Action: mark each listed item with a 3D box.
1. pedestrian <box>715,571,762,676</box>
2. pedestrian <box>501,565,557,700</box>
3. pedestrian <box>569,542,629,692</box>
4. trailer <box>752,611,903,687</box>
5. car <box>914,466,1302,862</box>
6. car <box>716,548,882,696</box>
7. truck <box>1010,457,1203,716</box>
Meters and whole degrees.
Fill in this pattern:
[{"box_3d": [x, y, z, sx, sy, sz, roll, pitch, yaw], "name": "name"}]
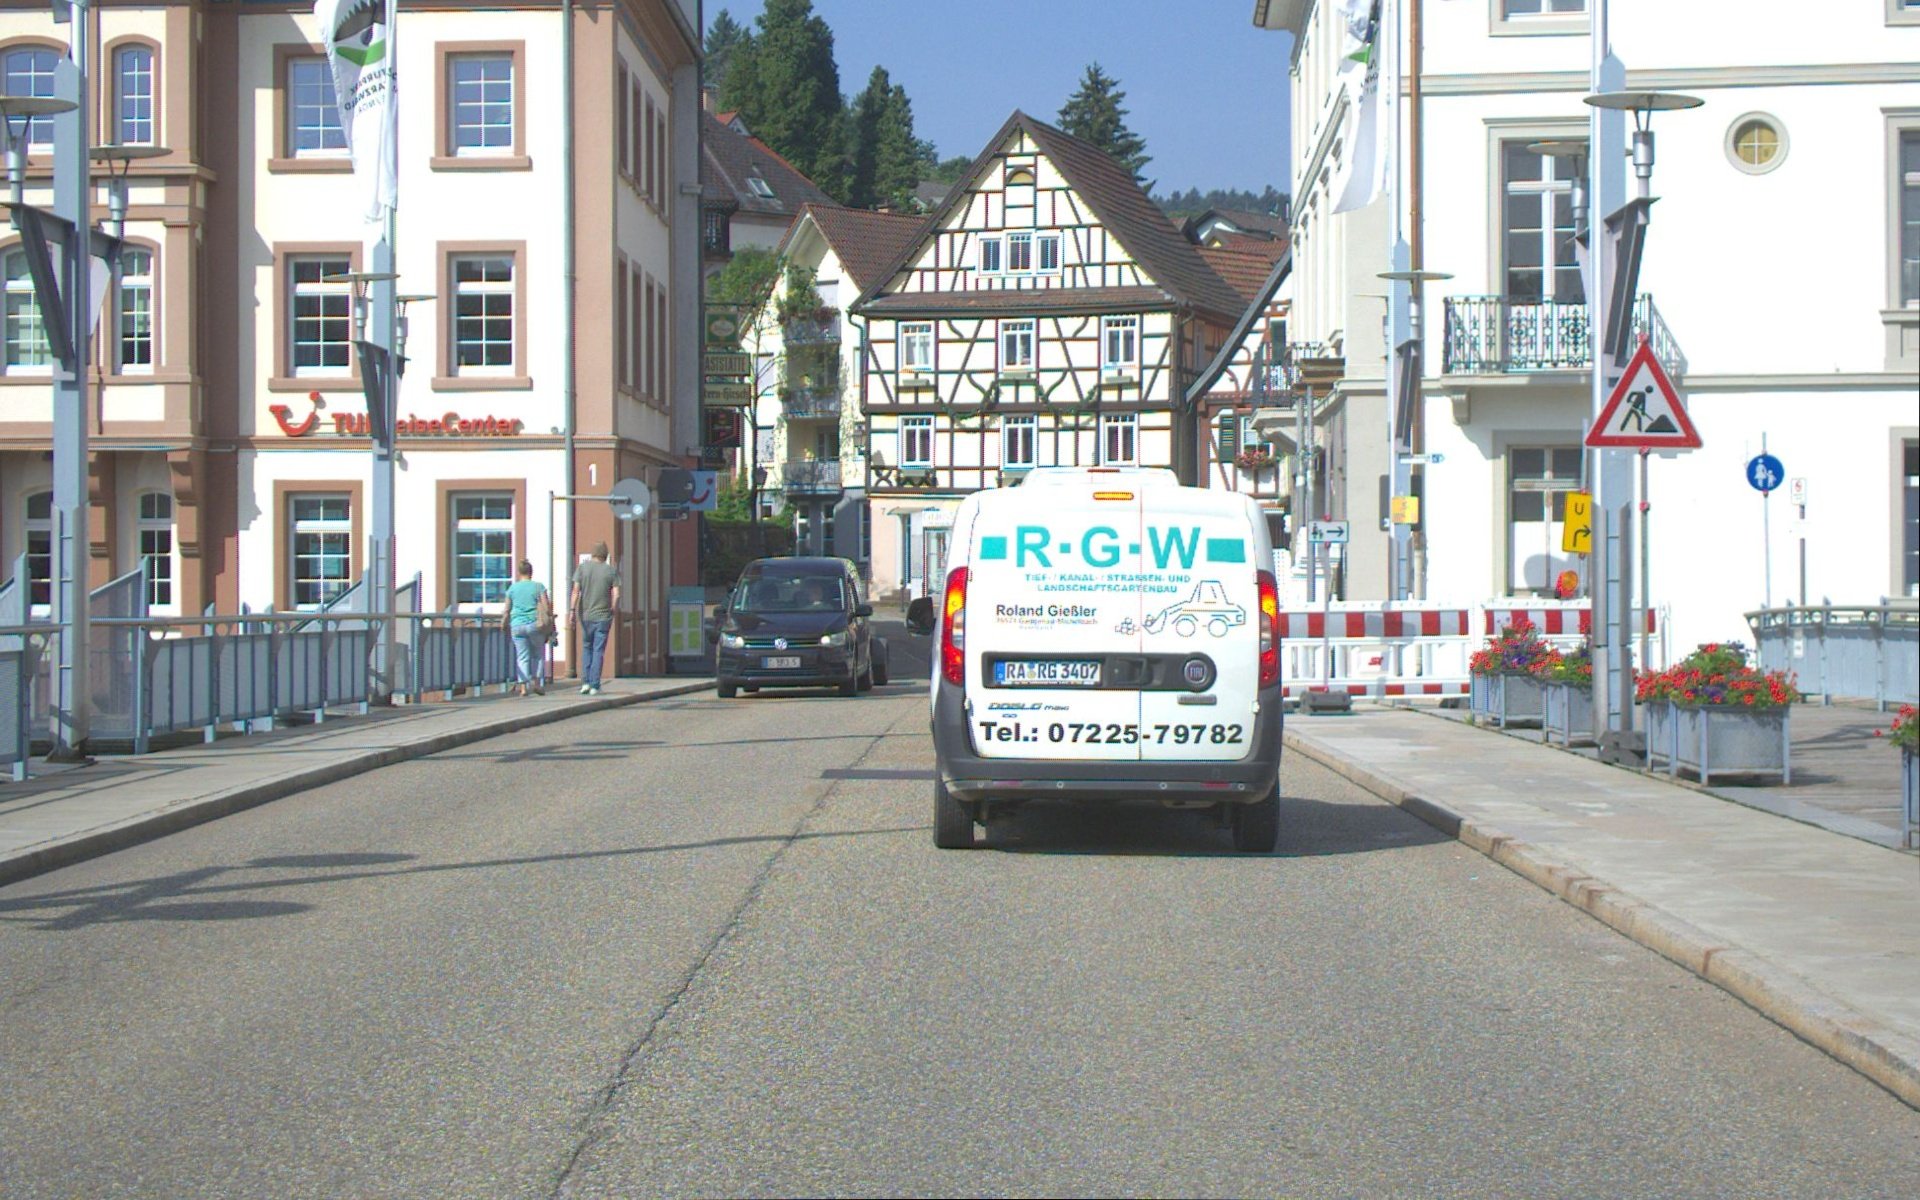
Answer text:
[{"box_3d": [-3.938, 0.420, 61.135, 0.803, 1.851, 0.616, 0, 1, 0], "name": "pedestrian"}, {"box_3d": [-5.179, 0.387, 41.333, 0.583, 1.604, 0.537, 1, 1, 0], "name": "pedestrian"}, {"box_3d": [-4.305, 0.190, 41.043, 0.614, 1.756, 0.864, 1, 1, 0], "name": "pedestrian"}, {"box_3d": [-1.849, 0.682, 49.199, 1.750, 1.019, 4.185, -1, 0, 3], "name": "trailer"}, {"box_3d": [0.689, 0.300, 18.833, 1.844, 1.899, 4.315, 1, 0, -1], "name": "car"}, {"box_3d": [-2.042, 0.234, 44.750, 1.777, 1.786, 4.697, 1, 1, 2], "name": "car"}, {"box_3d": [1.493, -0.149, 36.538, 1.861, 2.576, 4.260, 1, 0, 0], "name": "truck"}]
